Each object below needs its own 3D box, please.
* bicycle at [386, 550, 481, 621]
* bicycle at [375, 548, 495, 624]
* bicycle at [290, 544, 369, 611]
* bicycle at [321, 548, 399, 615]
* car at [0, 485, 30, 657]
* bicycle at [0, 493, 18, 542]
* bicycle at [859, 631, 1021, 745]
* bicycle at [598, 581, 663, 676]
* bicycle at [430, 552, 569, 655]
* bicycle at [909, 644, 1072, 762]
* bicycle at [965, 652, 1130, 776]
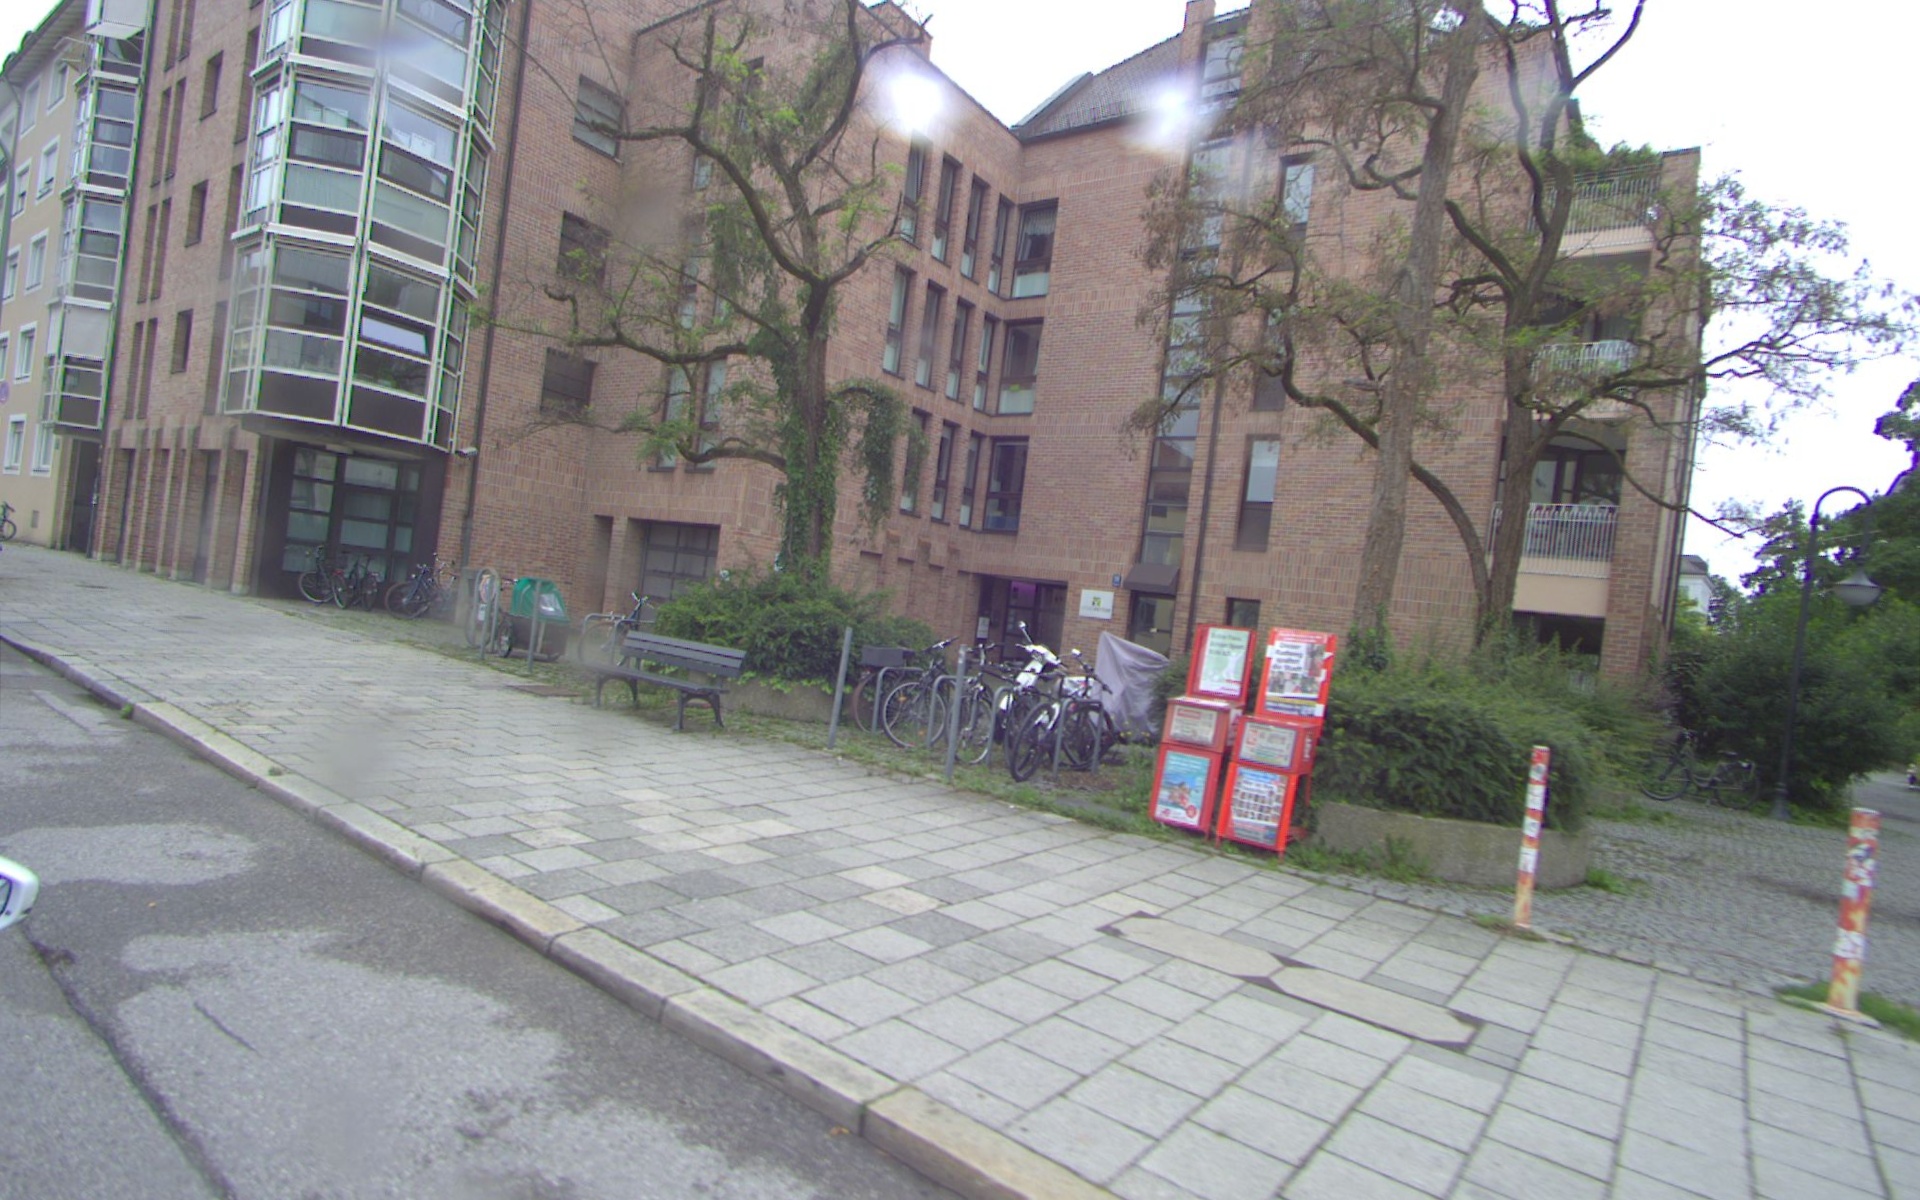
[{"bbox_3d":[-10.211,-0.264,19.549,0.378,1.160,1.474,8,-1,45],"label":"bicycle"},{"bbox_3d":[-9.905,-0.243,19.037,0.481,1.160,1.845,8,-2,45],"label":"bicycle"},{"bbox_3d":[-11.996,-0.437,19.106,1.965,1.072,0.486,6,-2,37],"label":"bicycle"},{"bbox_3d":[-11.671,-0.369,19.546,1.965,1.072,0.486,7,-1,37],"label":"bicycle"},{"bbox_3d":[-10.786,-0.551,9.722,4.327,1.529,1.926,7,-3,39],"label":"car"},{"bbox_3d":[-28.106,-2.459,29.372,2.636,1.303,0.468,8,-1,40],"label":"bicycle"},{"bbox_3d":[-0.162,0.916,10.127,0.538,0.976,1.701,8,-2,39],"label":"bicycle"},{"bbox_3d":[-4.478,0.379,13.741,0.414,1.187,1.360,9,-1,-6],"label":"bicycle"},{"bbox_3d":[-6.713,0.027,14.591,2.375,1.262,0.535,5,-2,34],"label":"bicycle"},{"bbox_3d":[0.335,1.022,9.700,0.538,0.976,1.701,8,-2,39],"label":"bicycle"},{"bbox_3d":[0.848,1.075,9.297,0.538,0.976,1.701,8,-2,39],"label":"bicycle"}]
